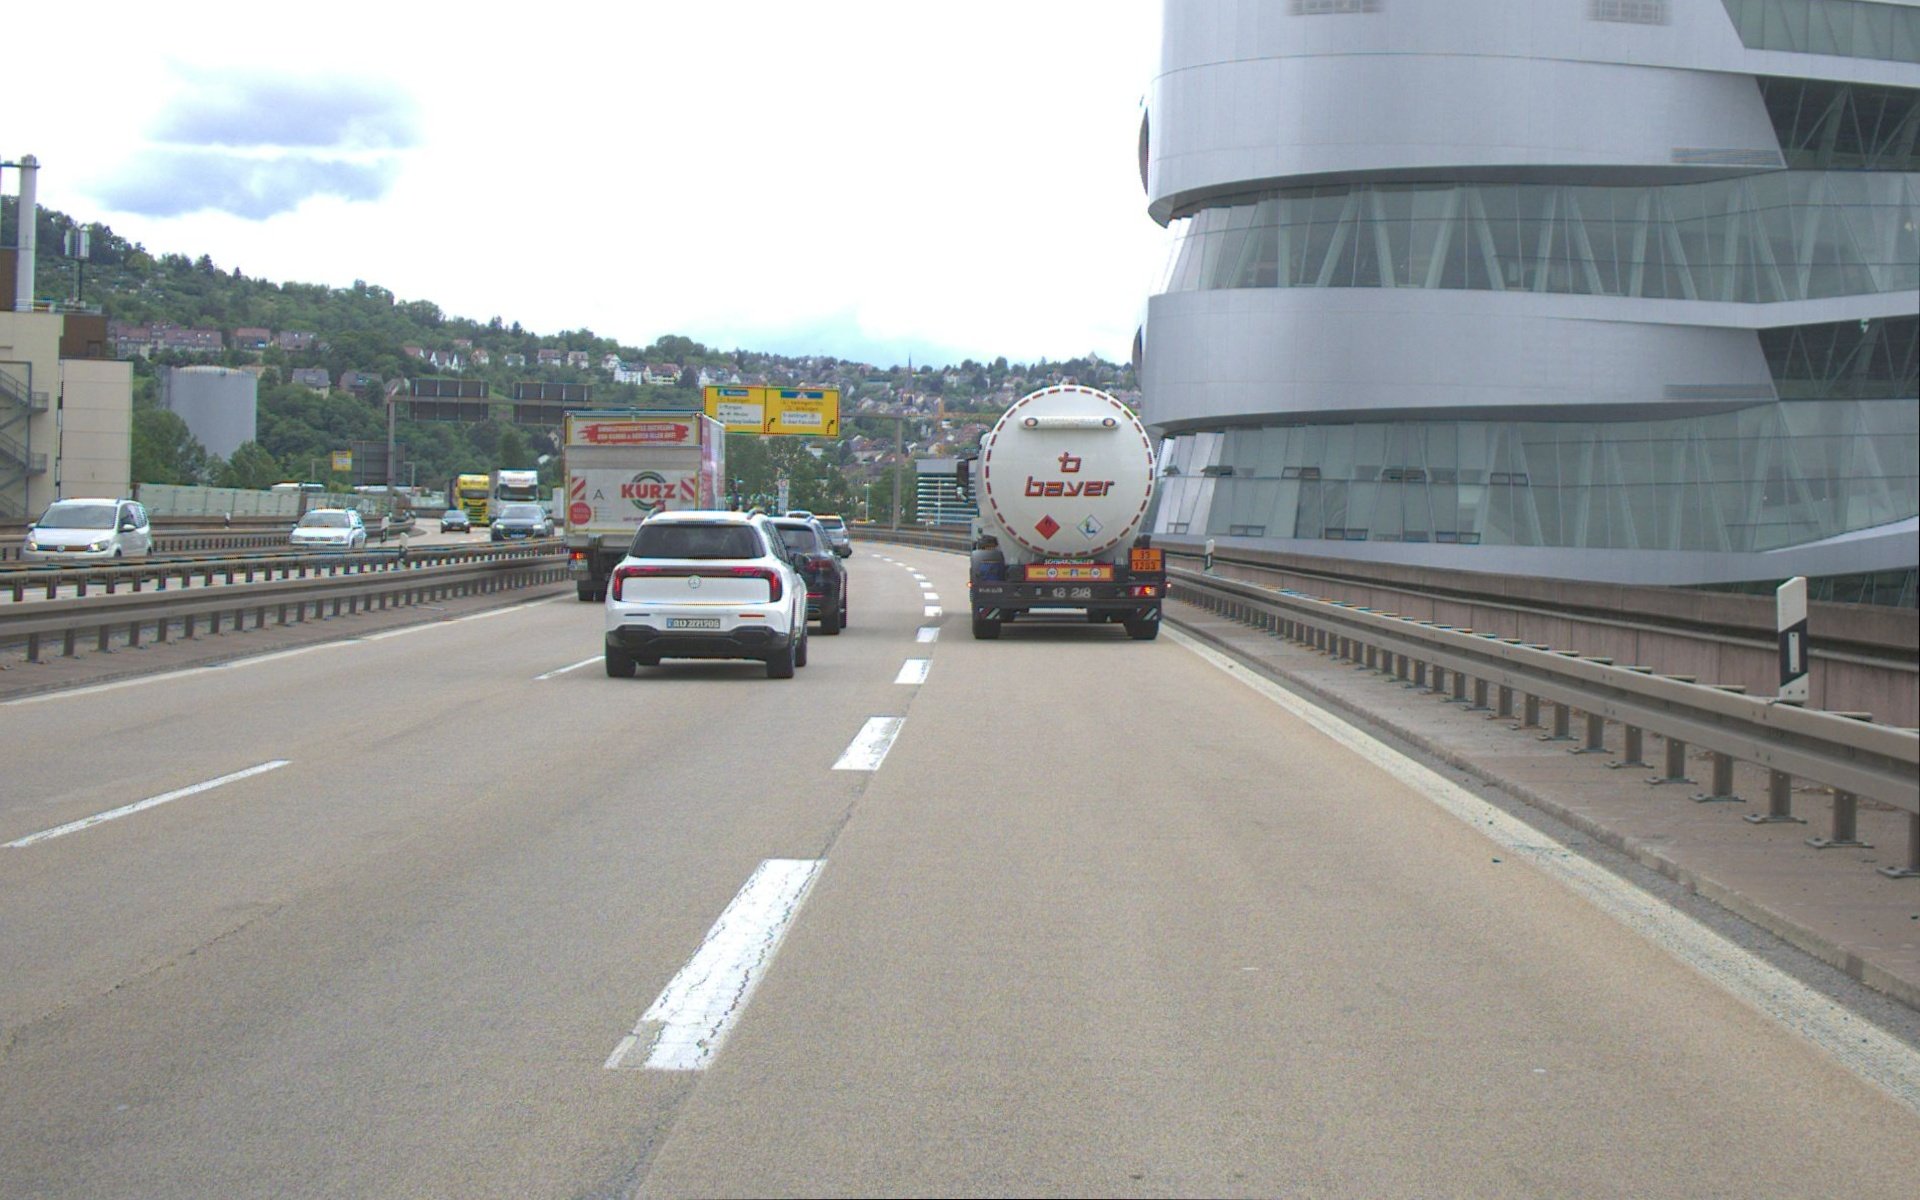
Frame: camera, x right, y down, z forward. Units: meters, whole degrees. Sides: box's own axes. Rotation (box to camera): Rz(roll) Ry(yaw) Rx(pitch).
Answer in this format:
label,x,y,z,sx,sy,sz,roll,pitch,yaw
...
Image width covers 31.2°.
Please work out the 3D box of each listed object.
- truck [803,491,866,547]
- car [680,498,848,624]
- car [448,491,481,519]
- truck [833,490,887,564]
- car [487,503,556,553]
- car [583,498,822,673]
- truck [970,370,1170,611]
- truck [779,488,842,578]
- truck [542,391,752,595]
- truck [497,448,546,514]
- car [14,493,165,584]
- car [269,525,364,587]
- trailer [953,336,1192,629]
label,x,y,z,sx,sy,sz,roll,pitch,yaw
truck,-5.007,-3.221,137.333,2.256,2.156,5.068,1,1,1
car,-2.721,-0.557,48.610,1.993,1.669,4.408,1,1,2
car,-30.947,-5.929,214.832,1.683,1.644,4.360,2,1,-4
truck,-6.356,-4.614,217.817,3.056,4.546,8.305,1,1,-4
car,-15.382,-2.507,120.802,1.762,1.644,4.335,3,1,1
car,-2.580,-0.172,35.446,1.993,1.669,4.408,1,1,2
truck,1.707,-1.719,55.673,3.014,3.644,6.273,1,1,0
truck,-7.883,-3.507,180.377,3.056,4.546,8.305,1,1,-4
truck,-5.946,-2.015,66.723,3.057,3.678,8.303,1,1,2
truck,-28.188,-7.623,221.148,2.771,4.065,5.647,1,1,-4
car,-16.692,-1.173,66.118,1.683,1.644,4.312,2,1,1
car,-17.927,-1.235,95.933,1.683,1.644,4.448,2,1,1
trailer,1.567,-1.591,48.727,3.057,3.777,8.303,1,1,2
